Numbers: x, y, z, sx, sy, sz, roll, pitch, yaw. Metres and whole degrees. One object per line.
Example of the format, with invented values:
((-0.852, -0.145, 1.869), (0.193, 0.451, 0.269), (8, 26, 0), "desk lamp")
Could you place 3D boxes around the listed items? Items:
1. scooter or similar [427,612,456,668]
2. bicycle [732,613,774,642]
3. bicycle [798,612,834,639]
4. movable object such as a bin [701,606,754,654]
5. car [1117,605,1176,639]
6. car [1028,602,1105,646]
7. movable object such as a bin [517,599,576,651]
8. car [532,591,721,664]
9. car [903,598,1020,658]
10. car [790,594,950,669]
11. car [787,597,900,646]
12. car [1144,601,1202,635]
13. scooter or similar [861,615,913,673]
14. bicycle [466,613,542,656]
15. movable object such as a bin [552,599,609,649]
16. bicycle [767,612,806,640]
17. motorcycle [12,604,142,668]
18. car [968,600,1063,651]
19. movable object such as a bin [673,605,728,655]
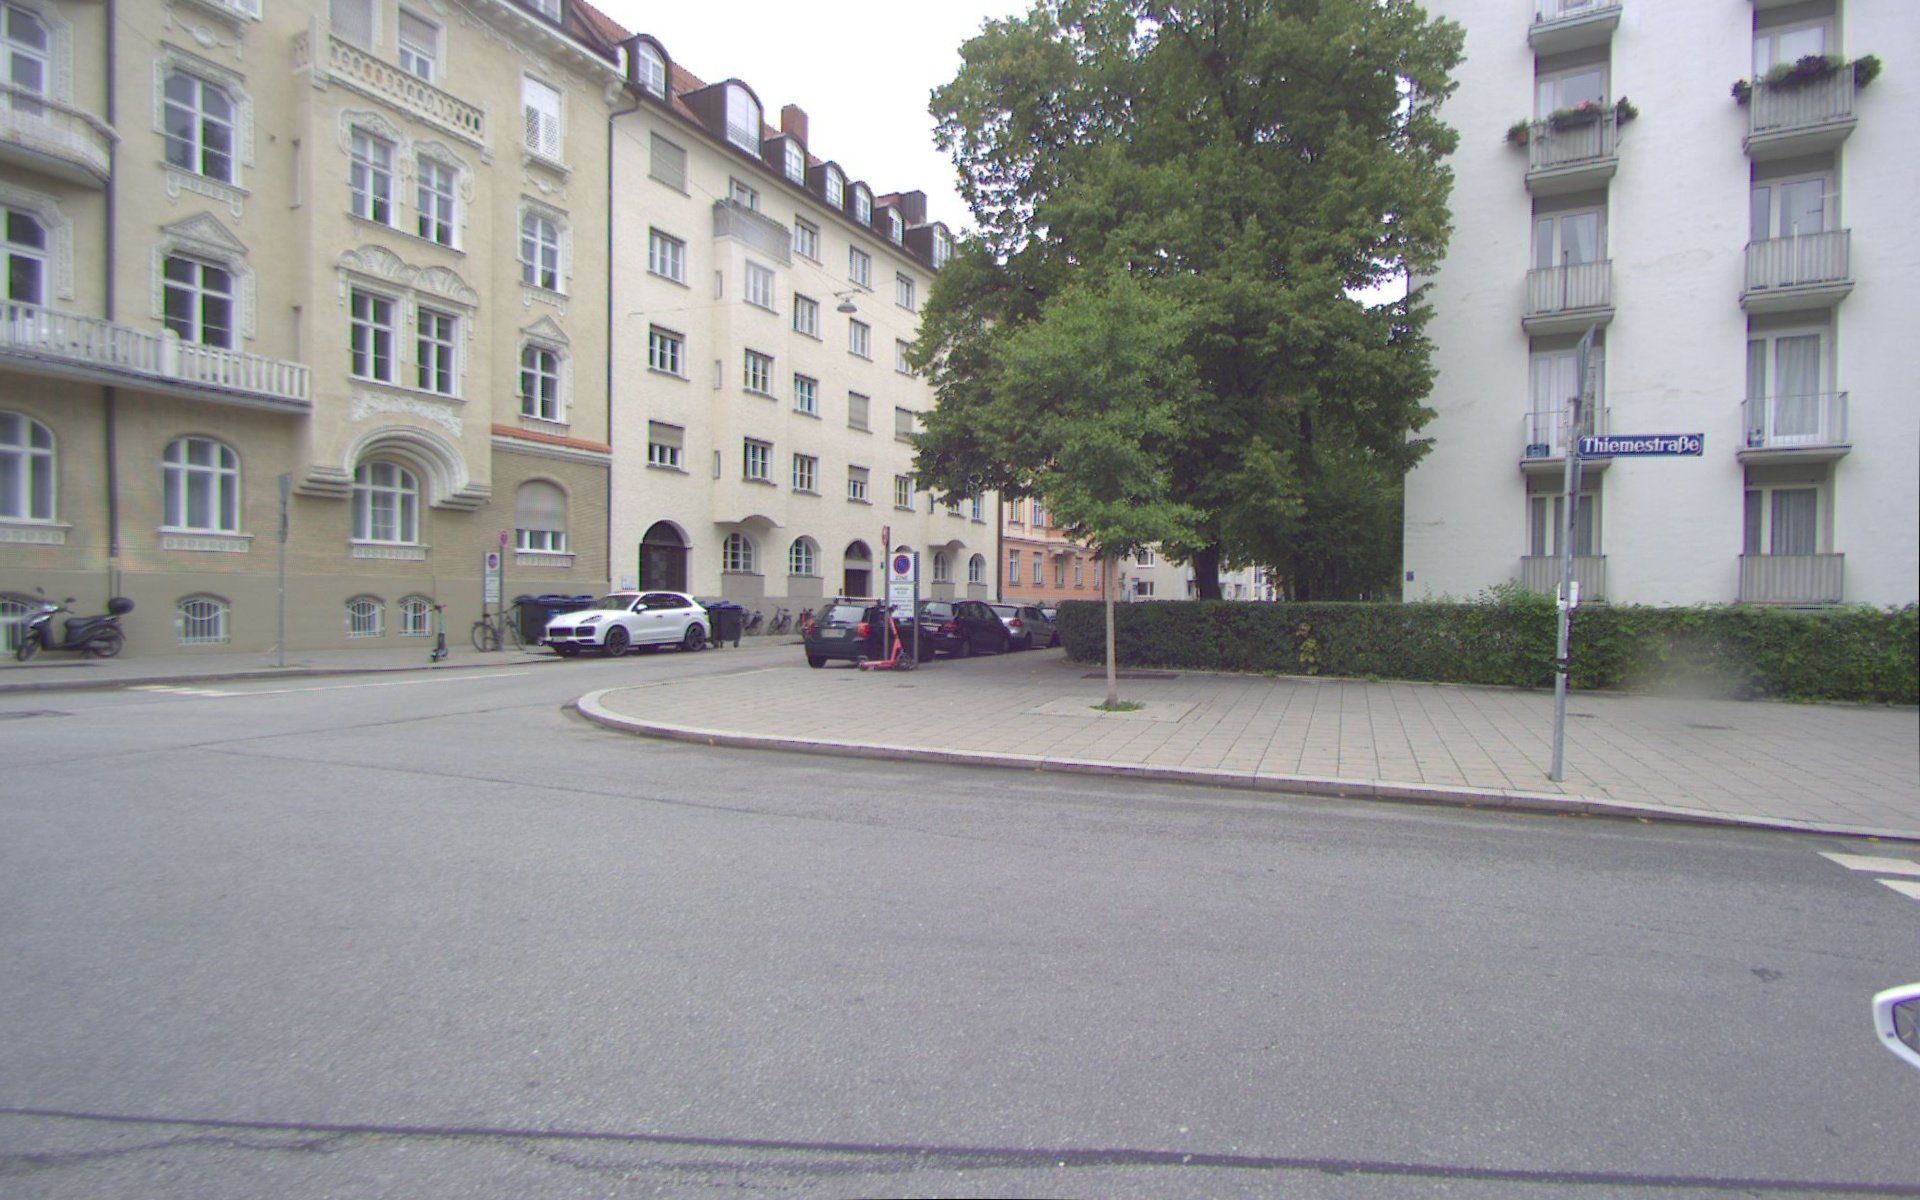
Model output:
((-11.612, 0.886, 22.530), (0.461, 1.209, 1.209), (1, 0, -23), "scooter or similar")
((-7.872, 1.045, 38.246), (0.554, 1.063, 1.828), (1, 0, 27), "bicycle")
((-5.996, 1.044, 41.924), (0.554, 1.063, 1.828), (1, 0, 27), "bicycle")
((-7.214, 0.907, 31.215), (1.075, 1.444, 1.171), (1, 0, 29), "movable object such as a bin")
((8.859, 1.008, 47.461), (1.806, 1.525, 4.112), (-1, -1, 24), "car")
((4.025, 0.858, 37.462), (1.764, 1.525, 4.113), (-1, -1, 23), "car")
((-11.980, 0.710, 29.130), (1.075, 1.444, 1.171), (1, 0, 29), "movable object such as a bin")
((-8.777, 0.671, 26.913), (1.945, 1.723, 4.834), (1, 0, 27), "car")
((0.146, 0.731, 27.824), (1.764, 1.525, 4.232), (-1, -1, 23), "car")
((-1.923, 0.672, 22.986), (1.789, 1.525, 4.420), (-1, -1, 23), "car")
((-4.124, 0.728, 36.388), (1.944, 1.637, 4.709), (1, 0, 24), "car")
((10.972, 0.909, 51.555), (1.808, 1.656, 4.108), (-1, -1, 28), "car")
((-1.420, 0.852, 19.605), (0.982, 1.103, 0.390), (1, 0, 0), "scooter or similar")
((-11.685, 0.868, 25.799), (0.554, 1.063, 1.828), (1, 0, 27), "bicycle")
((-11.398, 0.707, 30.174), (1.075, 1.444, 1.171), (1, 0, 29), "movable object such as a bin")
((-6.900, 1.017, 40.120), (0.554, 1.063, 1.828), (1, 0, 27), "bicycle")
((-17.286, 0.674, 19.712), (0.589, 1.192, 1.828), (1, 0, 27), "motorcycle")
((1.836, 0.785, 32.096), (1.764, 1.525, 4.113), (-1, -1, 23), "car")
((-7.781, 0.890, 30.170), (1.075, 1.444, 1.171), (1, 0, 29), "movable object such as a bin")
